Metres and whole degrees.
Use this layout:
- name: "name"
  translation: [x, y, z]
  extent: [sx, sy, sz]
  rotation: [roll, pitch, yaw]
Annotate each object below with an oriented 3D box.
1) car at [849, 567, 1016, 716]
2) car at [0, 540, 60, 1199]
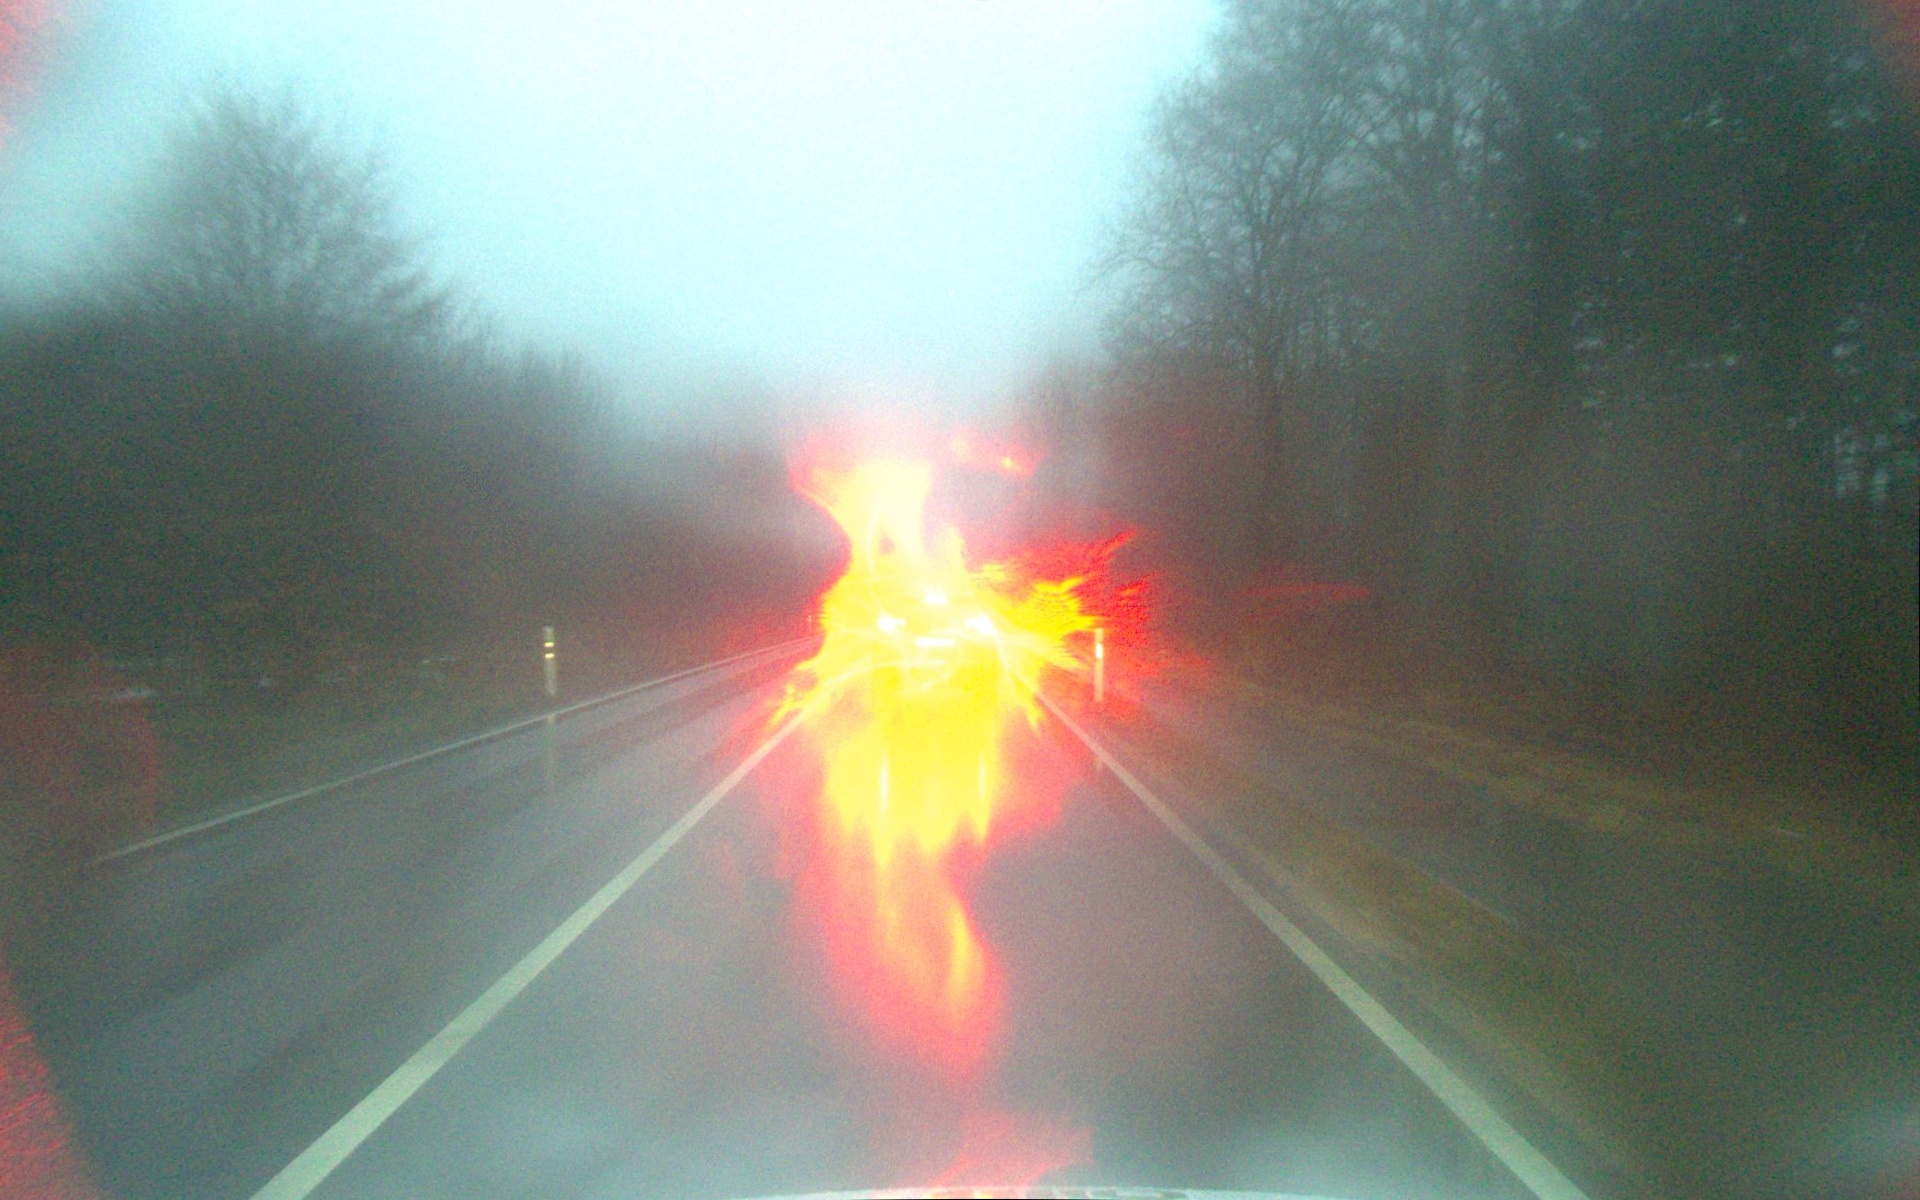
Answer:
- name: "car"
  translation: [-0.406, 0.552, 24.141]
  extent: [2.153, 1.910, 4.825]
  rotation: [1, 0, -1]
- name: "car"
  translation: [-3.004, 0.680, 1.933]
  extent: [1.660, 1.587, 4.128]
  rotation: [1, 1, -1]
